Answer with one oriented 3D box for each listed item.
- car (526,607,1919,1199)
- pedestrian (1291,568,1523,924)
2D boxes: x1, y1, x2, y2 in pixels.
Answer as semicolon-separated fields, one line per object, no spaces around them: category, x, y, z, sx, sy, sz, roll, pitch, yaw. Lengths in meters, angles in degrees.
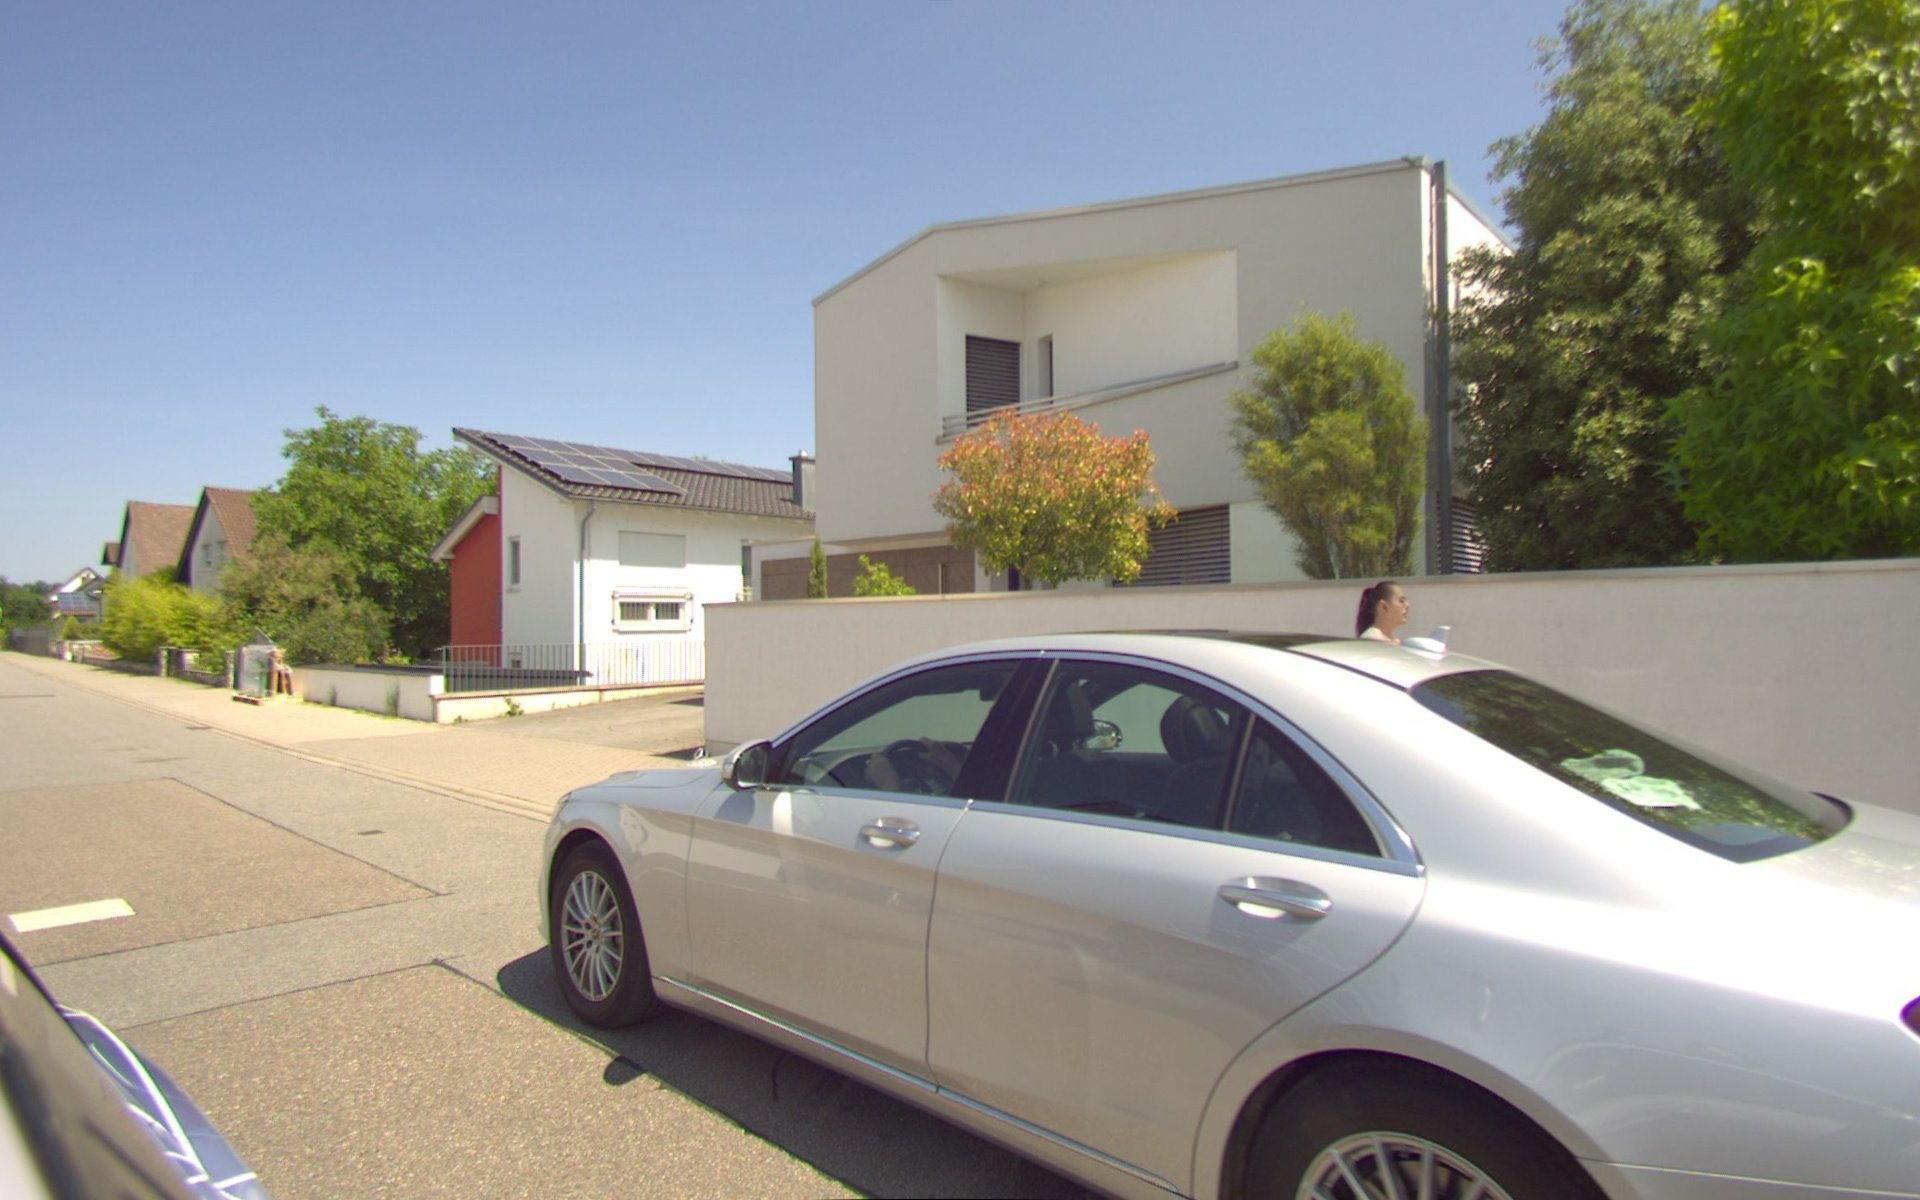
car;0.591;0.844;3.133;4.700;1.490;1.832;-2;-4;44
pedestrian;2.465;0.739;5.612;0.961;1.760;0.706;-2;-2;43
